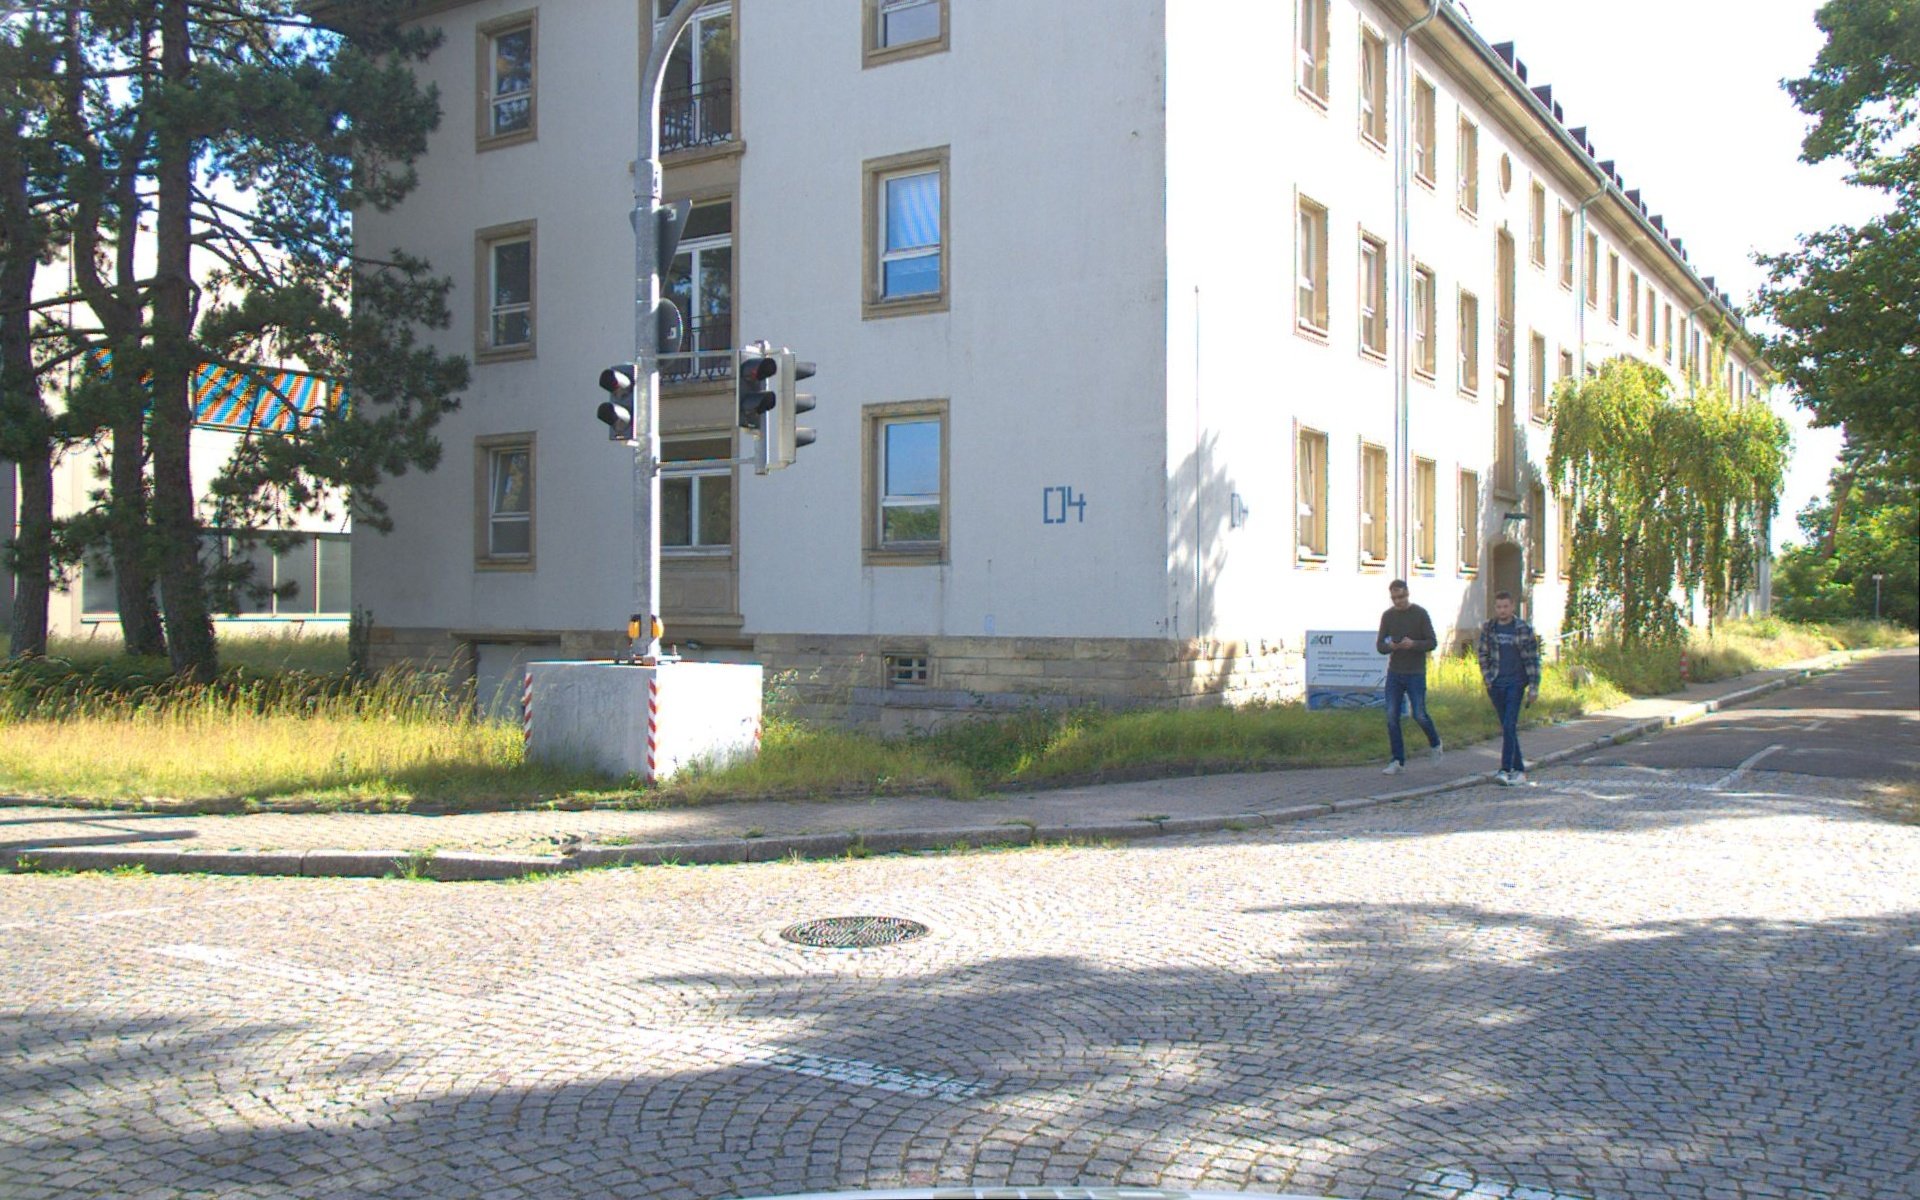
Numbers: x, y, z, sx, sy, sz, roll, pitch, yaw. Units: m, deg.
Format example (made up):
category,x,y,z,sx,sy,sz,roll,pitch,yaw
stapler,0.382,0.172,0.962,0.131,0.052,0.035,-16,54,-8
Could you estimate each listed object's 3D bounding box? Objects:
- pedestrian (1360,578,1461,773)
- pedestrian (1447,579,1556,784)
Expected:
category,x,y,z,sx,sy,sz,roll,pitch,yaw
pedestrian,4.409,0.718,16.205,0.800,1.849,0.551,0,-1,44
pedestrian,5.060,0.739,15.452,0.756,1.849,0.678,0,-1,44
